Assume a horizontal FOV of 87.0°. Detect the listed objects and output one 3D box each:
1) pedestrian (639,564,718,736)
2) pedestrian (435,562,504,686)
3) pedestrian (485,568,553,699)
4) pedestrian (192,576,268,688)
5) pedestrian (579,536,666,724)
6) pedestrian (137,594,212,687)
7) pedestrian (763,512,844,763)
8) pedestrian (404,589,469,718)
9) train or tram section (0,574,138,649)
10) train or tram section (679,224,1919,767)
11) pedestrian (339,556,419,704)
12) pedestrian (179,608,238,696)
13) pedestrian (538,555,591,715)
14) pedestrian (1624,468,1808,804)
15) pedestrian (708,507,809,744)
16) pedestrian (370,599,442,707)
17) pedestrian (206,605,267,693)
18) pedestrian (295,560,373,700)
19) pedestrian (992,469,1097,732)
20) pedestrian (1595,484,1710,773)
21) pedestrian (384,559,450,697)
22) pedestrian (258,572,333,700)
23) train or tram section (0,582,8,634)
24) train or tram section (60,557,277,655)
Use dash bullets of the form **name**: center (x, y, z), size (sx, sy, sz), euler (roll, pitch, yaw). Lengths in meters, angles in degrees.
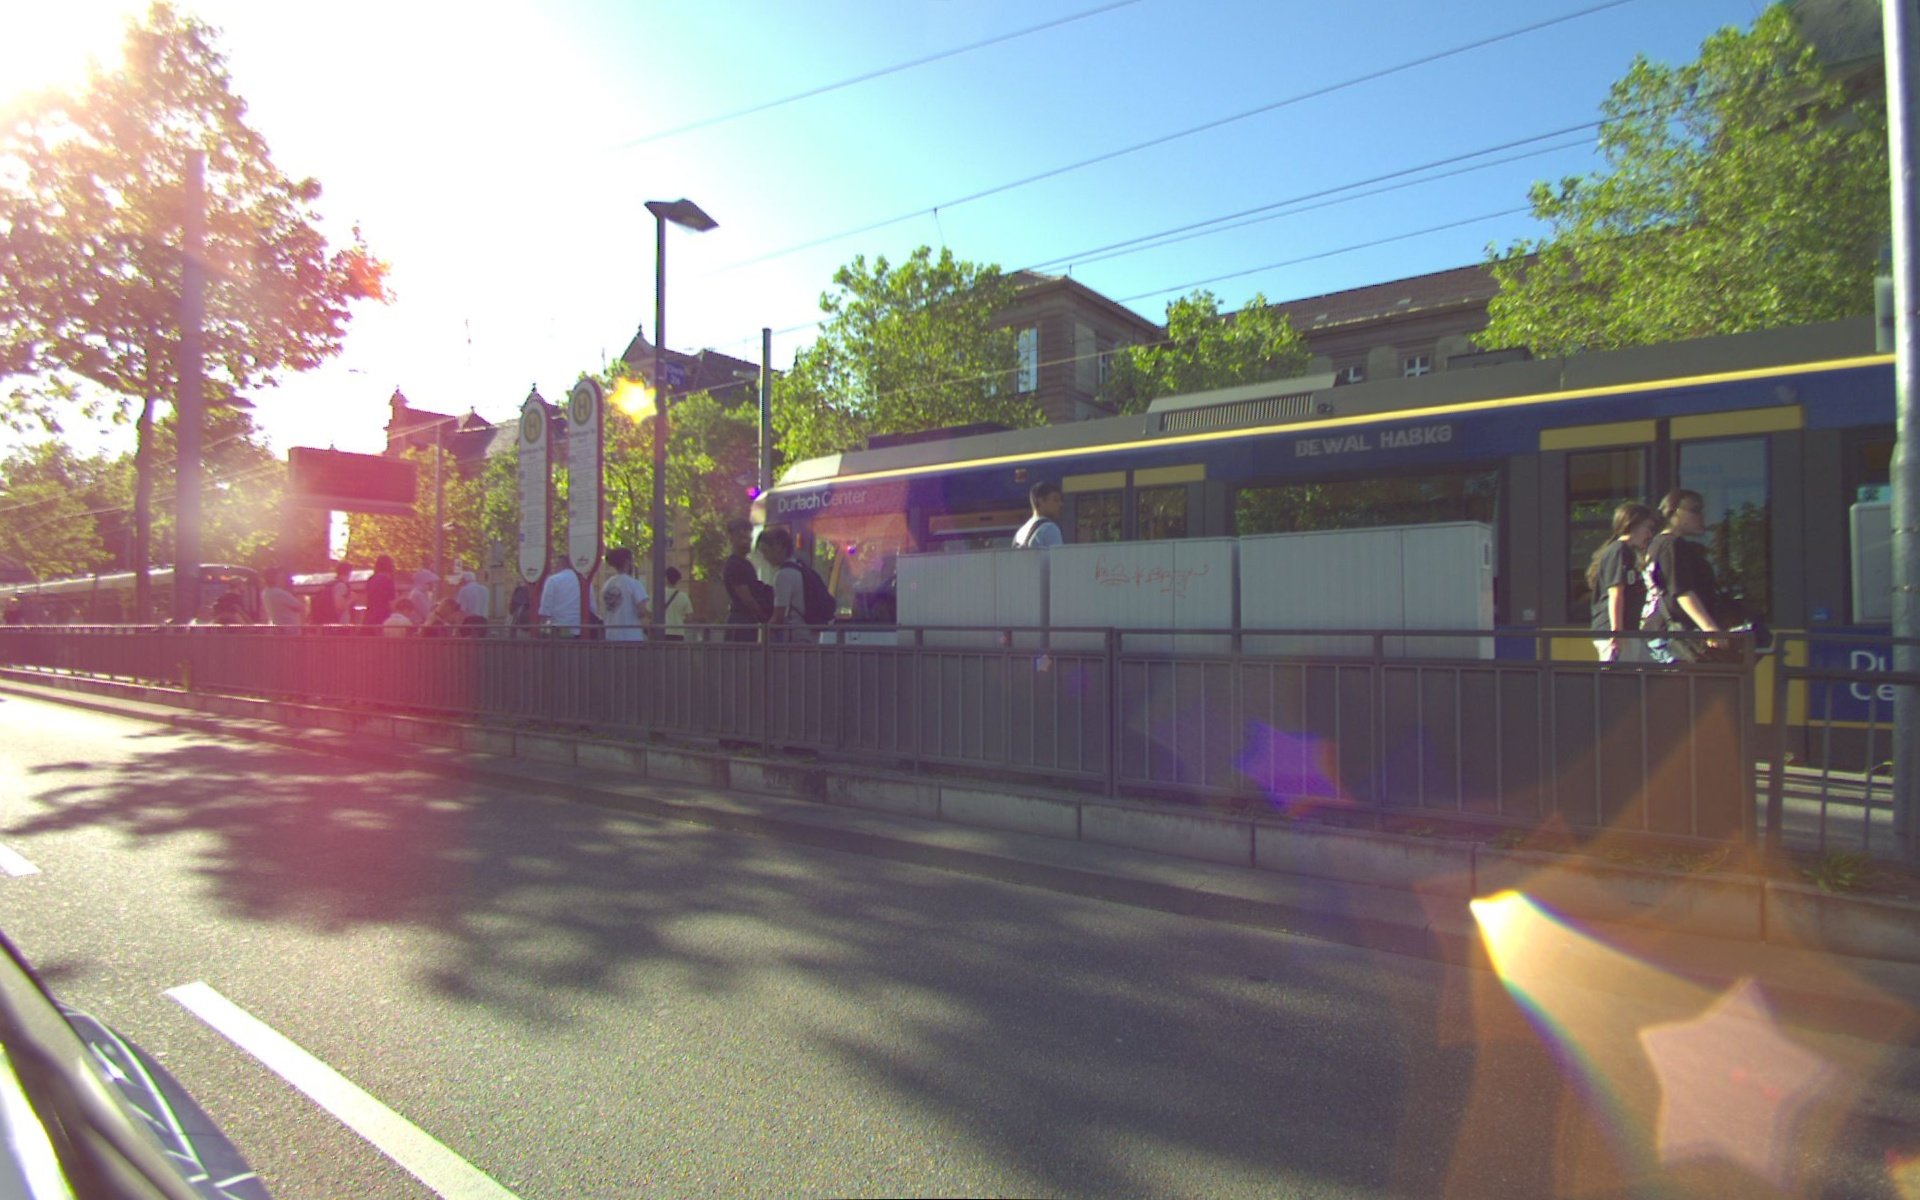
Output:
- **pedestrian**: center (-3.049, 0.532, 10.960), size (0.610, 1.783, 0.548), euler (-1, -2, 33)
- **pedestrian**: center (-6.790, 0.337, 14.011), size (0.621, 1.662, 0.613), euler (-1, -2, 33)
- **pedestrian**: center (-5.347, 0.404, 12.276), size (0.530, 1.530, 0.540), euler (-2, -3, 37)
- **pedestrian**: center (-11.876, 0.527, 16.470), size (0.721, 1.766, 0.769), euler (-1, -3, 34)
- **pedestrian**: center (-3.206, 0.285, 9.610), size (0.610, 1.715, 0.501), euler (-1, -2, 33)
- **pedestrian**: center (-13.227, 0.677, 17.044), size (0.750, 1.521, 0.769), euler (-1, -3, 34)
- **pedestrian**: center (-1.147, 0.270, 7.373), size (0.531, 1.747, 0.551), euler (0, -2, -13)
- **pedestrian**: center (-5.560, 0.563, 10.756), size (0.506, 1.326, 0.412), euler (-1, -2, 36)
- **train or tram section**: center (-47.821, 0.723, 53.432), size (18.248, 3.460, 2.844), euler (-2, -1, 38)
- **train or tram section**: center (3.403, -0.641, 9.819), size (15.869, 3.284, 2.887), euler (0, 1, 38)
- **pedestrian**: center (-6.973, 0.360, 12.155), size (0.570, 1.709, 0.654), euler (-2, -3, 38)
- **pedestrian**: center (-11.519, 0.787, 15.508), size (0.603, 1.309, 0.529), euler (-1, -3, 34)
- **pedestrian**: center (-4.403, 0.383, 11.256), size (0.498, 1.715, 0.613), euler (1, -2, -25)
- **pedestrian**: center (4.171, 0.193, 5.644), size (0.745, 1.715, 0.627), euler (-1, -2, 33)
- **pedestrian**: center (-1.558, 0.197, 7.857), size (0.538, 1.747, 0.543), euler (-1, -2, 33)
- **pedestrian**: center (-6.364, 0.605, 11.638), size (0.530, 1.201, 0.540), euler (-2, -2, 37)
- **pedestrian**: center (-10.572, 0.708, 14.784), size (0.603, 1.256, 0.529), euler (-1, -3, 35)
- **pedestrian**: center (-7.913, 0.382, 12.796), size (0.570, 1.709, 0.654), euler (-2, -3, 38)
- **pedestrian**: center (0.597, 0.009, 7.098), size (0.538, 1.747, 0.543), euler (-1, -2, 33)
- **pedestrian**: center (4.372, 0.179, 6.421), size (0.544, 1.715, 0.603), euler (-1, -2, 33)
- **pedestrian**: center (-6.982, 0.365, 13.022), size (0.620, 1.721, 0.510), euler (-2, -3, 37)
- **pedestrian**: center (-8.803, 0.475, 13.414), size (0.570, 1.646, 0.654), euler (-2, -3, 38)
- **train or tram section**: center (-54.237, 0.526, 54.141), size (15.050, 2.551, 2.538), euler (-1, -2, 38)
- **train or tram section**: center (-33.471, 0.392, 42.169), size (18.187, 3.460, 2.822), euler (-2, -1, 38)
